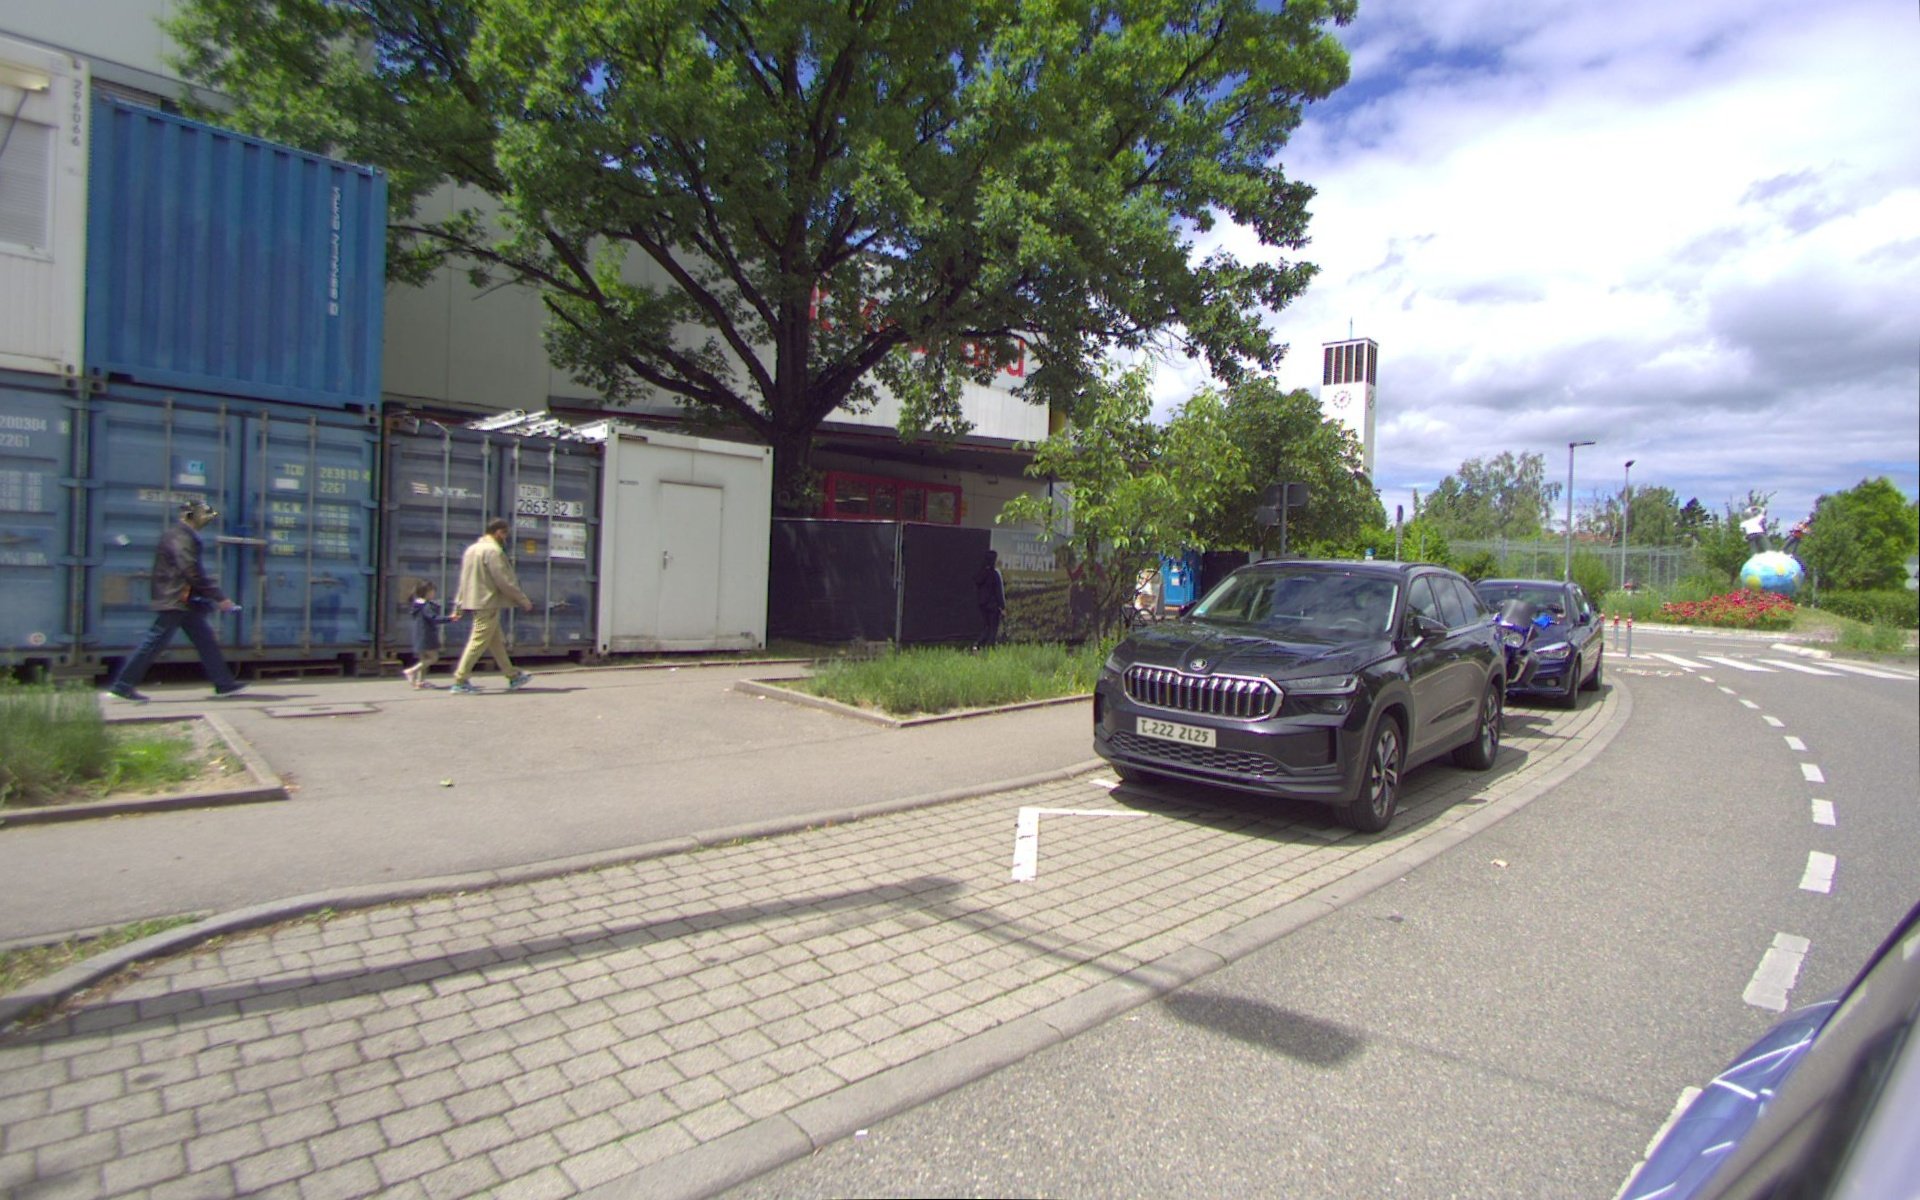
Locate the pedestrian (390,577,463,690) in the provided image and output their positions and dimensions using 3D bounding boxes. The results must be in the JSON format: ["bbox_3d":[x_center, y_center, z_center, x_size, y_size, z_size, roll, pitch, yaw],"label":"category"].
[{"bbox_3d":[-5.254,0.313,9.969,0.557,1.071,0.412,0,1,-42],"label":"pedestrian"}]

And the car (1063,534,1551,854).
[{"bbox_3d":[2.934,0.428,7.729,1.877,1.641,4.776,4,3,40],"label":"car"}]

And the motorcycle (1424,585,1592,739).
[{"bbox_3d":[5.658,0.549,10.361,1.070,1.321,2.229,6,4,38],"label":"motorcycle"}]

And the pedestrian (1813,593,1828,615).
[{"bbox_3d":[63.389,0.311,74.543,0.758,1.577,0.595,1,0,32],"label":"pedestrian"}]

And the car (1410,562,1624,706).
[{"bbox_3d":[7.872,0.345,14.088,1.913,1.597,4.370,4,3,37],"label":"car"}]

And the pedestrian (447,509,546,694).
[{"bbox_3d":[-4.525,0.004,9.881,0.712,1.717,0.651,0,1,-42],"label":"pedestrian"}]

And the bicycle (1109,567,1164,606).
[{"bbox_3d":[5.856,-0.466,33.608,1.747,1.249,0.712,1,1,15],"label":"bicycle"}]

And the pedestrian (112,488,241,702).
[{"bbox_3d":[-6.690,-0.051,8.645,0.830,1.718,0.653,0,1,-42],"label":"pedestrian"}]

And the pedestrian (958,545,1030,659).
[{"bbox_3d":[0.506,0.011,15.044,0.754,1.638,0.744,0,1,-42],"label":"pedestrian"}]

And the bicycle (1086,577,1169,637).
[{"bbox_3d":[3.397,0.130,20.427,1.755,1.170,0.452,0,1,-30],"label":"bicycle"}]

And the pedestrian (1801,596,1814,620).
[{"bbox_3d":[62.645,0.583,74.822,0.603,1.718,0.560,2,1,32],"label":"pedestrian"}]
